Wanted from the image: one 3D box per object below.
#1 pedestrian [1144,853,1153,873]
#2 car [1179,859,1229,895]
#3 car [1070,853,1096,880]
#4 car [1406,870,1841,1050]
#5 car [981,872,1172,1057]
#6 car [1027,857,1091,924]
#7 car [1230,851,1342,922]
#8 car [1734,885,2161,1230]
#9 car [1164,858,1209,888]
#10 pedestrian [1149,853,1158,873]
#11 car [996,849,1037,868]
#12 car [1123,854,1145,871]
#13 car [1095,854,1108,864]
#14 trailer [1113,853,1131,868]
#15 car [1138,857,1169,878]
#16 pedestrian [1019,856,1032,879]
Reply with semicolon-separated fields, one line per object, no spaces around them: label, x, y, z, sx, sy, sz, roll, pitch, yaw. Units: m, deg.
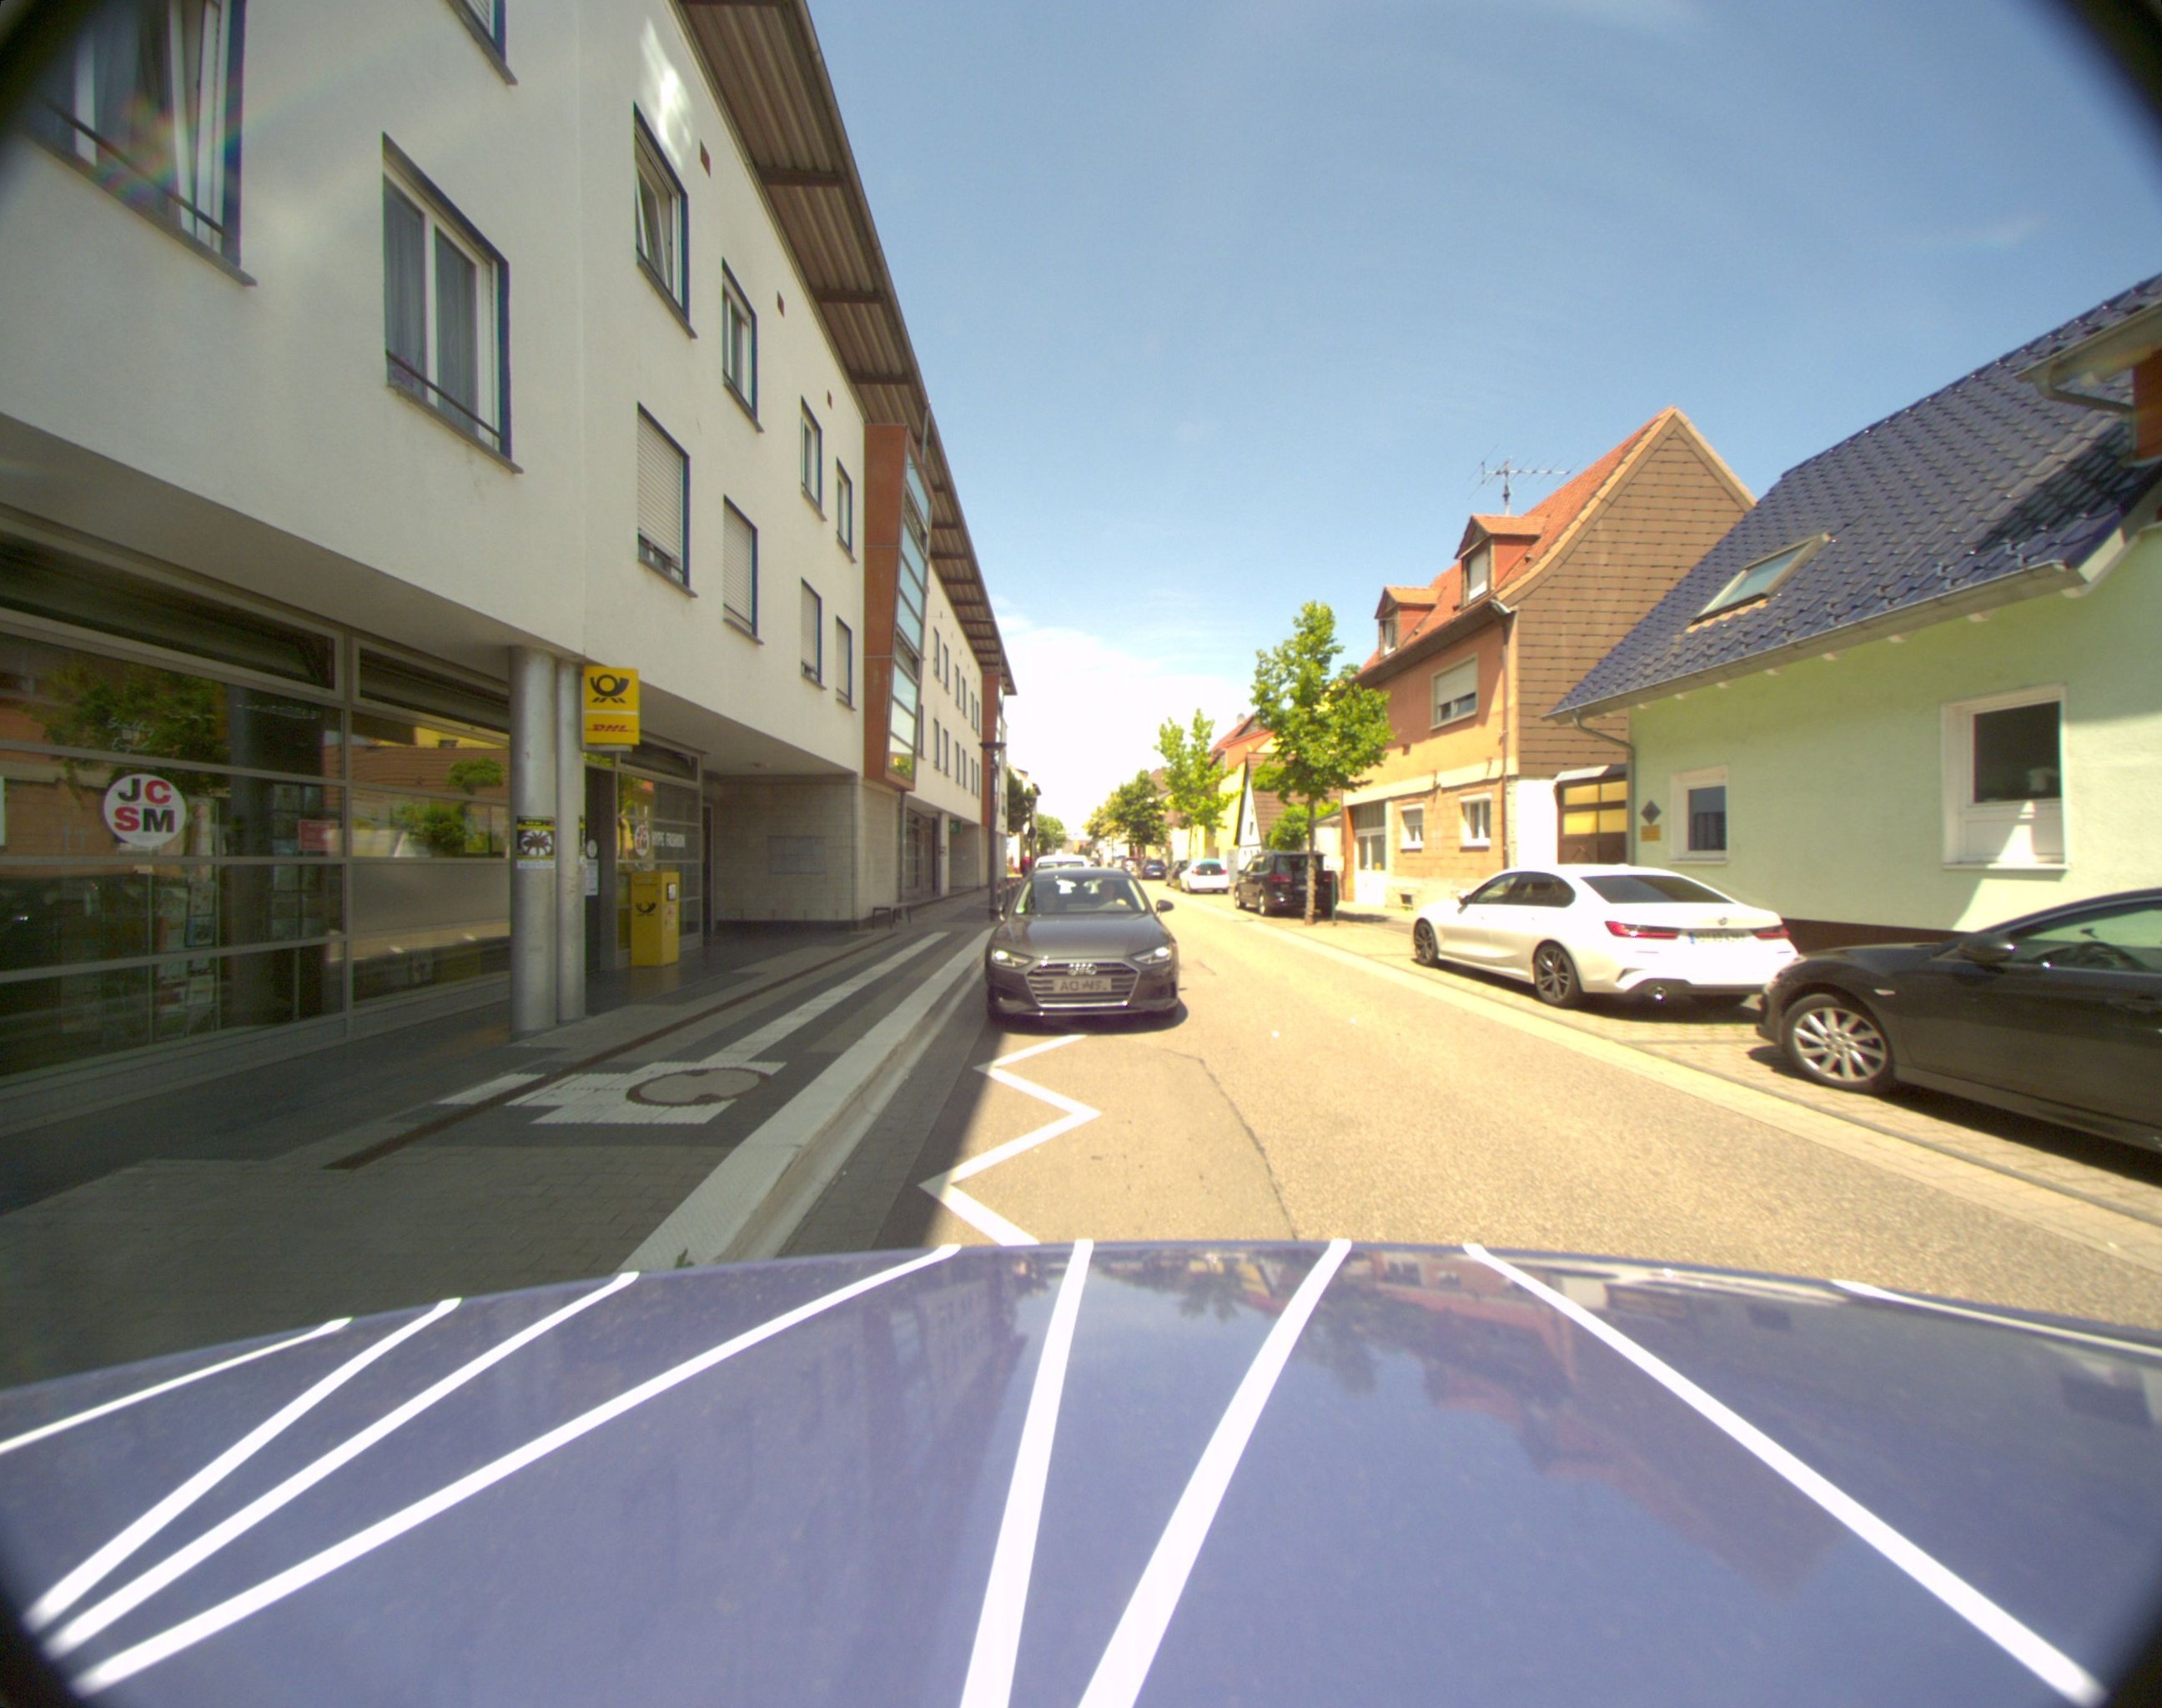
pedestrian;5.290;0.705;59.468;0.631;1.592;0.528;0;1;0
car;5.229;0.939;32.574;1.558;1.422;3.409;0;0;-1
car;0.102;0.770;47.971;1.581;1.620;4.064;0;0;-1
car;5.587;0.954;8.713;1.724;1.428;4.459;0;0;-1
car;-0.071;0.965;8.343;1.581;1.424;4.064;0;0;-1
car;-0.583;0.901;20.725;1.581;1.620;4.064;0;0;-1
car;5.460;0.794;20.850;1.780;1.716;4.519;0;0;-1
car;5.610;0.946;3.320;1.665;1.428;4.538;0;0;1
car;5.339;0.936;38.794;1.649;1.422;4.098;1;0;-1
pedestrian;5.806;0.679;60.764;0.631;1.592;0.528;0;1;0
car;-6.760;0.460;80.010;4.204;1.849;2.000;1;0;-1
car;4.931;0.747;71.131;1.753;1.566;4.157;-1;0;-1
car;2.992;0.771;112.461;1.693;1.464;3.999;0;0;-1
trailer;4.538;0.710;83.662;1.493;1.571;3.882;-3;0;-3
car;4.866;0.894;51.645;1.660;1.399;4.157;0;0;-1
pedestrian;-3.941;0.928;54.090;0.826;1.579;0.919;3;0;0
